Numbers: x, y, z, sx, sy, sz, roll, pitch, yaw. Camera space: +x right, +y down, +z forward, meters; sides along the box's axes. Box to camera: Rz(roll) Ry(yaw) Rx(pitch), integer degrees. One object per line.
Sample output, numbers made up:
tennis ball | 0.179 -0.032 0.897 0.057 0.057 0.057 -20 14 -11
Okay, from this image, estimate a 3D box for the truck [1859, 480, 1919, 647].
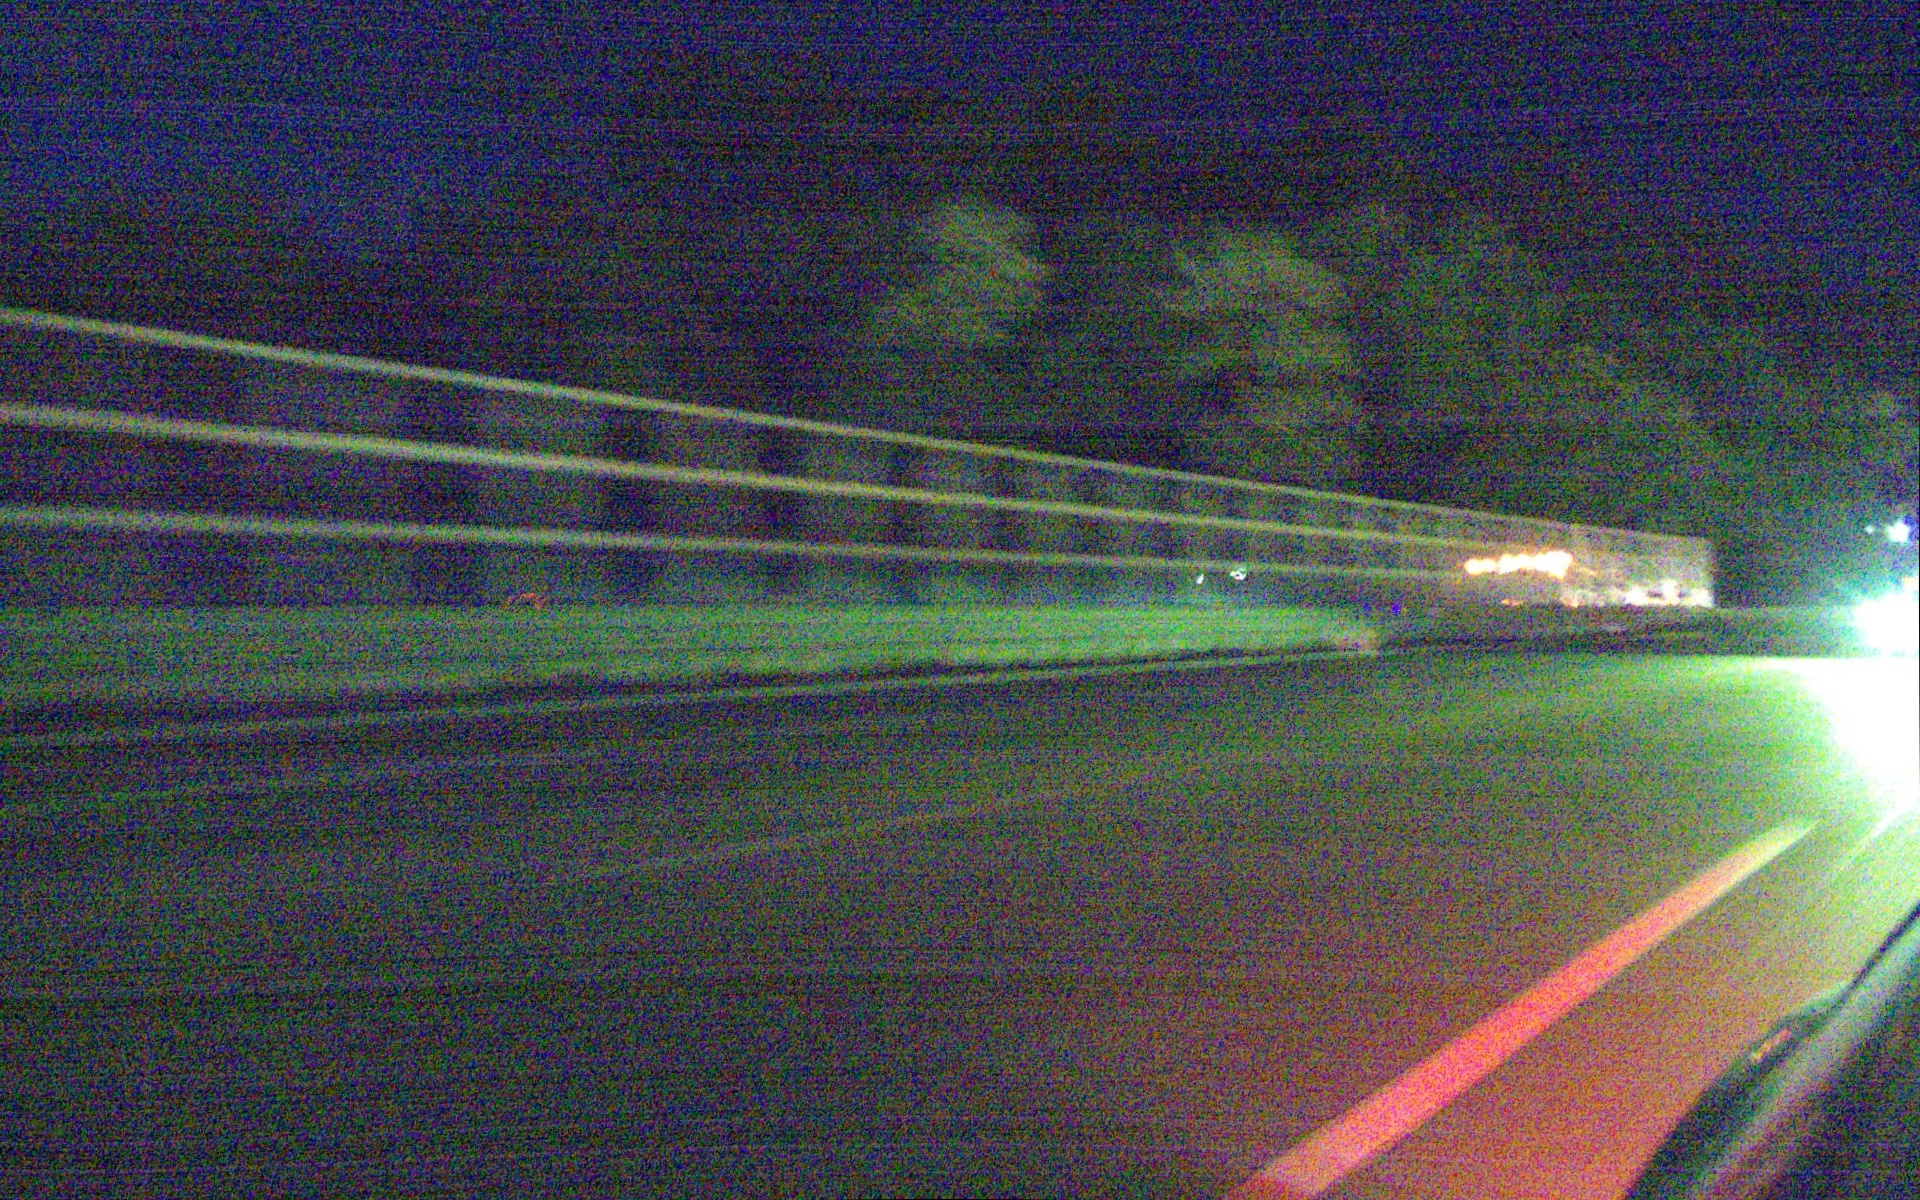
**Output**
truck | 31.691 -0.918 30.350 18.360 4.187 3.492 0 0 -37
